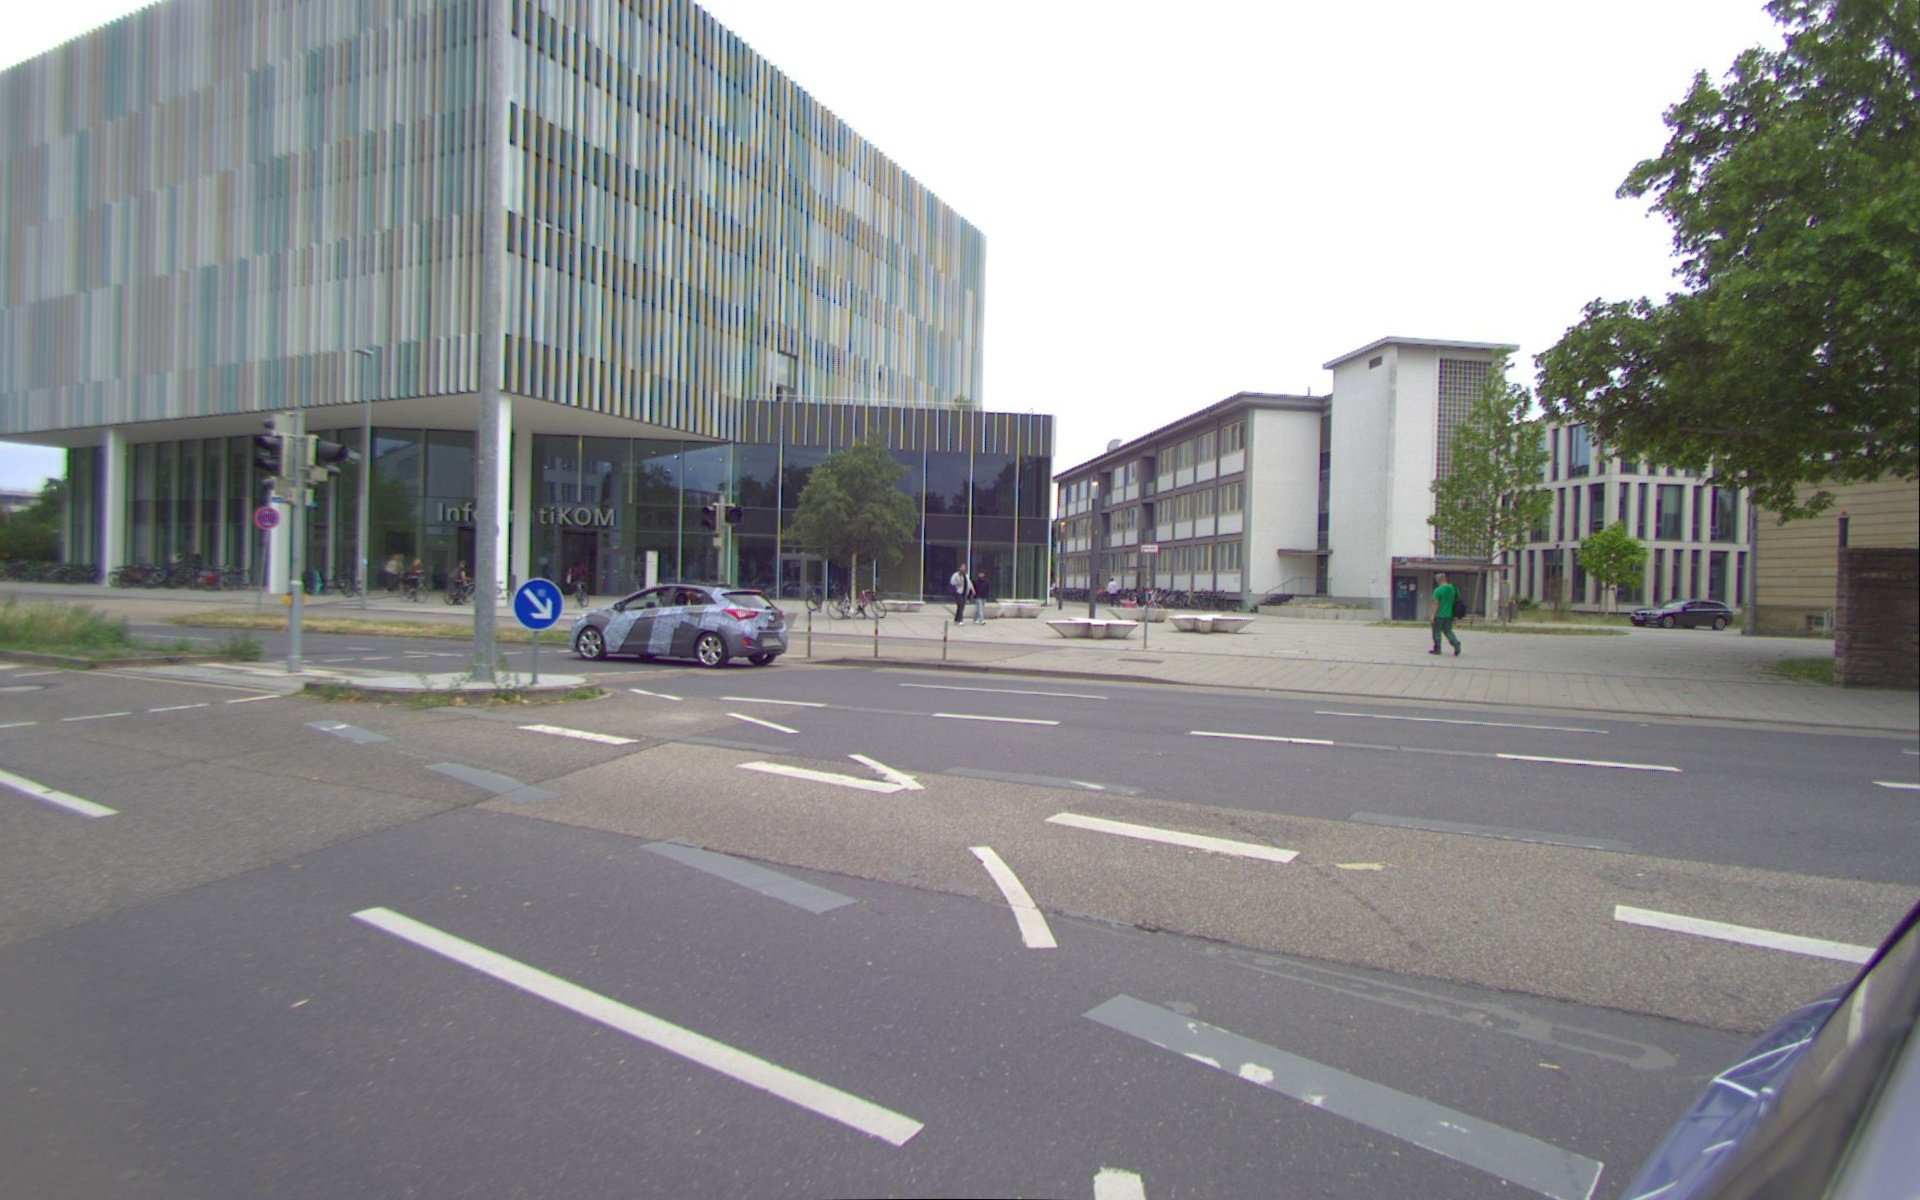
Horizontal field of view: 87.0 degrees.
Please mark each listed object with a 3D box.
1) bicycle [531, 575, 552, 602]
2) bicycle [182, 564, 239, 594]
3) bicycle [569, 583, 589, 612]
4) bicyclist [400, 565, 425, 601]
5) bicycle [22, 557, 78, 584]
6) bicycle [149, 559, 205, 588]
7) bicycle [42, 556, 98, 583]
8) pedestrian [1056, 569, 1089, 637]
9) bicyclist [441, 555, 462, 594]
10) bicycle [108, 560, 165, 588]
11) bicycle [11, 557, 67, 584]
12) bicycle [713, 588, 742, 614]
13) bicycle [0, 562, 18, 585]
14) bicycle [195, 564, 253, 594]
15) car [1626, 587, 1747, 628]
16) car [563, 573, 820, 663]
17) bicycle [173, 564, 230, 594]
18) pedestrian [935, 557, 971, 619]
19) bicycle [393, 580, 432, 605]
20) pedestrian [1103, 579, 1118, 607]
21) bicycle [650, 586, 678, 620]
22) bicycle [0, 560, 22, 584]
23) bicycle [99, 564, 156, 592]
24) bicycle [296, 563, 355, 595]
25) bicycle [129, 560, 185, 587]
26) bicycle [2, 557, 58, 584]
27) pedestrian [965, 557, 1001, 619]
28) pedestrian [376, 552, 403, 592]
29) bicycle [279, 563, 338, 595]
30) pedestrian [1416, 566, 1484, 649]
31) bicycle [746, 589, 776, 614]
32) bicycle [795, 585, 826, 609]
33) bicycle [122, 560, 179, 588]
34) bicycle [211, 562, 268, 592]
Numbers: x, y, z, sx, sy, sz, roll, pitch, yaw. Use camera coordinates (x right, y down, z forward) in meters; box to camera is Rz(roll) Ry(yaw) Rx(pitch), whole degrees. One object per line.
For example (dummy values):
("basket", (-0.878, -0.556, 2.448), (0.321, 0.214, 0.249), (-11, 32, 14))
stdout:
("bicycle", (-17.139, -0.496, 41.446), (0.474, 1.058, 1.920), (1, 1, -13))
("bicycle", (-35.439, -0.988, 47.883), (0.621, 1.275, 2.086), (0, -3, 24))
("bicycle", (-14.845, -0.114, 39.415), (0.474, 1.058, 1.920), (0, 1, -13))
("bicyclist", (-21.666, -0.667, 40.015), (0.714, 1.400, 0.611), (2, 1, 35))
("bicycle", (-48.269, -1.564, 53.721), (0.621, 1.275, 2.086), (0, -3, 24))
("bicycle", (-37.934, -1.253, 49.048), (0.621, 1.275, 2.086), (0, -3, 24))
("bicycle", (-46.590, -1.570, 52.998), (0.621, 1.275, 2.086), (0, -3, 24))
("pedestrian", (2.823, 0.066, 25.458), (0.605, 1.687, 0.626), (0, -1, -19))
("bicyclist", (-19.741, -0.999, 39.266), (0.482, 1.487, 0.596), (2, 1, 43))
("bicycle", (-40.499, -1.258, 49.771), (0.621, 1.275, 2.086), (0, -3, 24))
("bicycle", (-49.118, -1.564, 54.005), (0.621, 1.275, 2.086), (0, -3, 24))
("bicycle", (-9.220, 0.029, 40.032), (0.474, 0.947, 2.011), (0, 1, -32))
("bicycle", (-54.013, -1.509, 56.421), (0.621, 1.275, 2.086), (0, -3, 24))
("bicycle", (-34.554, -0.989, 47.541), (0.623, 1.275, 2.081), (-1, -3, 30))
("car", (34.705, 0.375, 48.436), (4.313, 1.604, 2.000), (0, -10, -8))
("car", (-4.888, 0.309, 18.510), (4.176, 1.487, 1.986), (1, -2, 21))
("bicycle", (-36.051, -0.986, 48.127), (0.621, 1.275, 2.086), (0, -3, 24))
("pedestrian", (-0.217, -0.352, 30.015), (0.828, 1.810, 0.896), (1, 1, -16))
("bicycle", (-21.618, -0.307, 39.974), (1.905, 0.937, 0.611), (2, 1, 37))
("pedestrian", (9.831, -0.479, 66.191), (0.760, 1.811, 0.763), (1, 0, -8))
("bicycle", (-9.520, 0.088, 32.613), (0.474, 1.058, 1.785), (1, 1, -3))
("bicycle", (-53.363, -1.583, 55.980), (0.621, 1.275, 2.086), (0, -3, 24))
("bicycle", (-41.133, -1.071, 50.043), (0.621, 1.275, 2.086), (0, -3, 24))
("bicycle", (-27.468, -0.894, 43.832), (0.623, 1.275, 2.081), (-1, -3, 30))
("bicycle", (-39.056, -1.284, 49.224), (0.622, 1.274, 2.087), (1, 1, 24))
("bicycle", (-49.928, -1.561, 54.362), (0.621, 1.275, 2.086), (0, -3, 24))
("pedestrian", (0.673, -0.358, 30.387), (0.828, 1.811, 0.896), (1, 0, -16))
("pedestrian", (-26.152, -1.280, 46.381), (0.755, 1.810, 0.794), (1, 1, 27))
("bicycle", (-28.539, -0.887, 44.383), (0.623, 1.275, 2.081), (-1, -3, 30))
("pedestrian", (10.692, 0.158, 22.106), (0.931, 1.736, 0.907), (2, -1, -11))
("bicycle", (-7.978, 0.061, 40.474), (0.474, 0.947, 2.011), (0, 1, -32))
("bicycle", (-6.141, -0.136, 41.411), (0.474, 0.947, 2.011), (0, 1, -32))
("bicycle", (-39.625, -1.255, 49.554), (0.621, 1.275, 2.086), (0, -3, 24))
("bicycle", (-33.402, -1.037, 46.943), (0.623, 1.275, 2.081), (-1, -3, 30))
